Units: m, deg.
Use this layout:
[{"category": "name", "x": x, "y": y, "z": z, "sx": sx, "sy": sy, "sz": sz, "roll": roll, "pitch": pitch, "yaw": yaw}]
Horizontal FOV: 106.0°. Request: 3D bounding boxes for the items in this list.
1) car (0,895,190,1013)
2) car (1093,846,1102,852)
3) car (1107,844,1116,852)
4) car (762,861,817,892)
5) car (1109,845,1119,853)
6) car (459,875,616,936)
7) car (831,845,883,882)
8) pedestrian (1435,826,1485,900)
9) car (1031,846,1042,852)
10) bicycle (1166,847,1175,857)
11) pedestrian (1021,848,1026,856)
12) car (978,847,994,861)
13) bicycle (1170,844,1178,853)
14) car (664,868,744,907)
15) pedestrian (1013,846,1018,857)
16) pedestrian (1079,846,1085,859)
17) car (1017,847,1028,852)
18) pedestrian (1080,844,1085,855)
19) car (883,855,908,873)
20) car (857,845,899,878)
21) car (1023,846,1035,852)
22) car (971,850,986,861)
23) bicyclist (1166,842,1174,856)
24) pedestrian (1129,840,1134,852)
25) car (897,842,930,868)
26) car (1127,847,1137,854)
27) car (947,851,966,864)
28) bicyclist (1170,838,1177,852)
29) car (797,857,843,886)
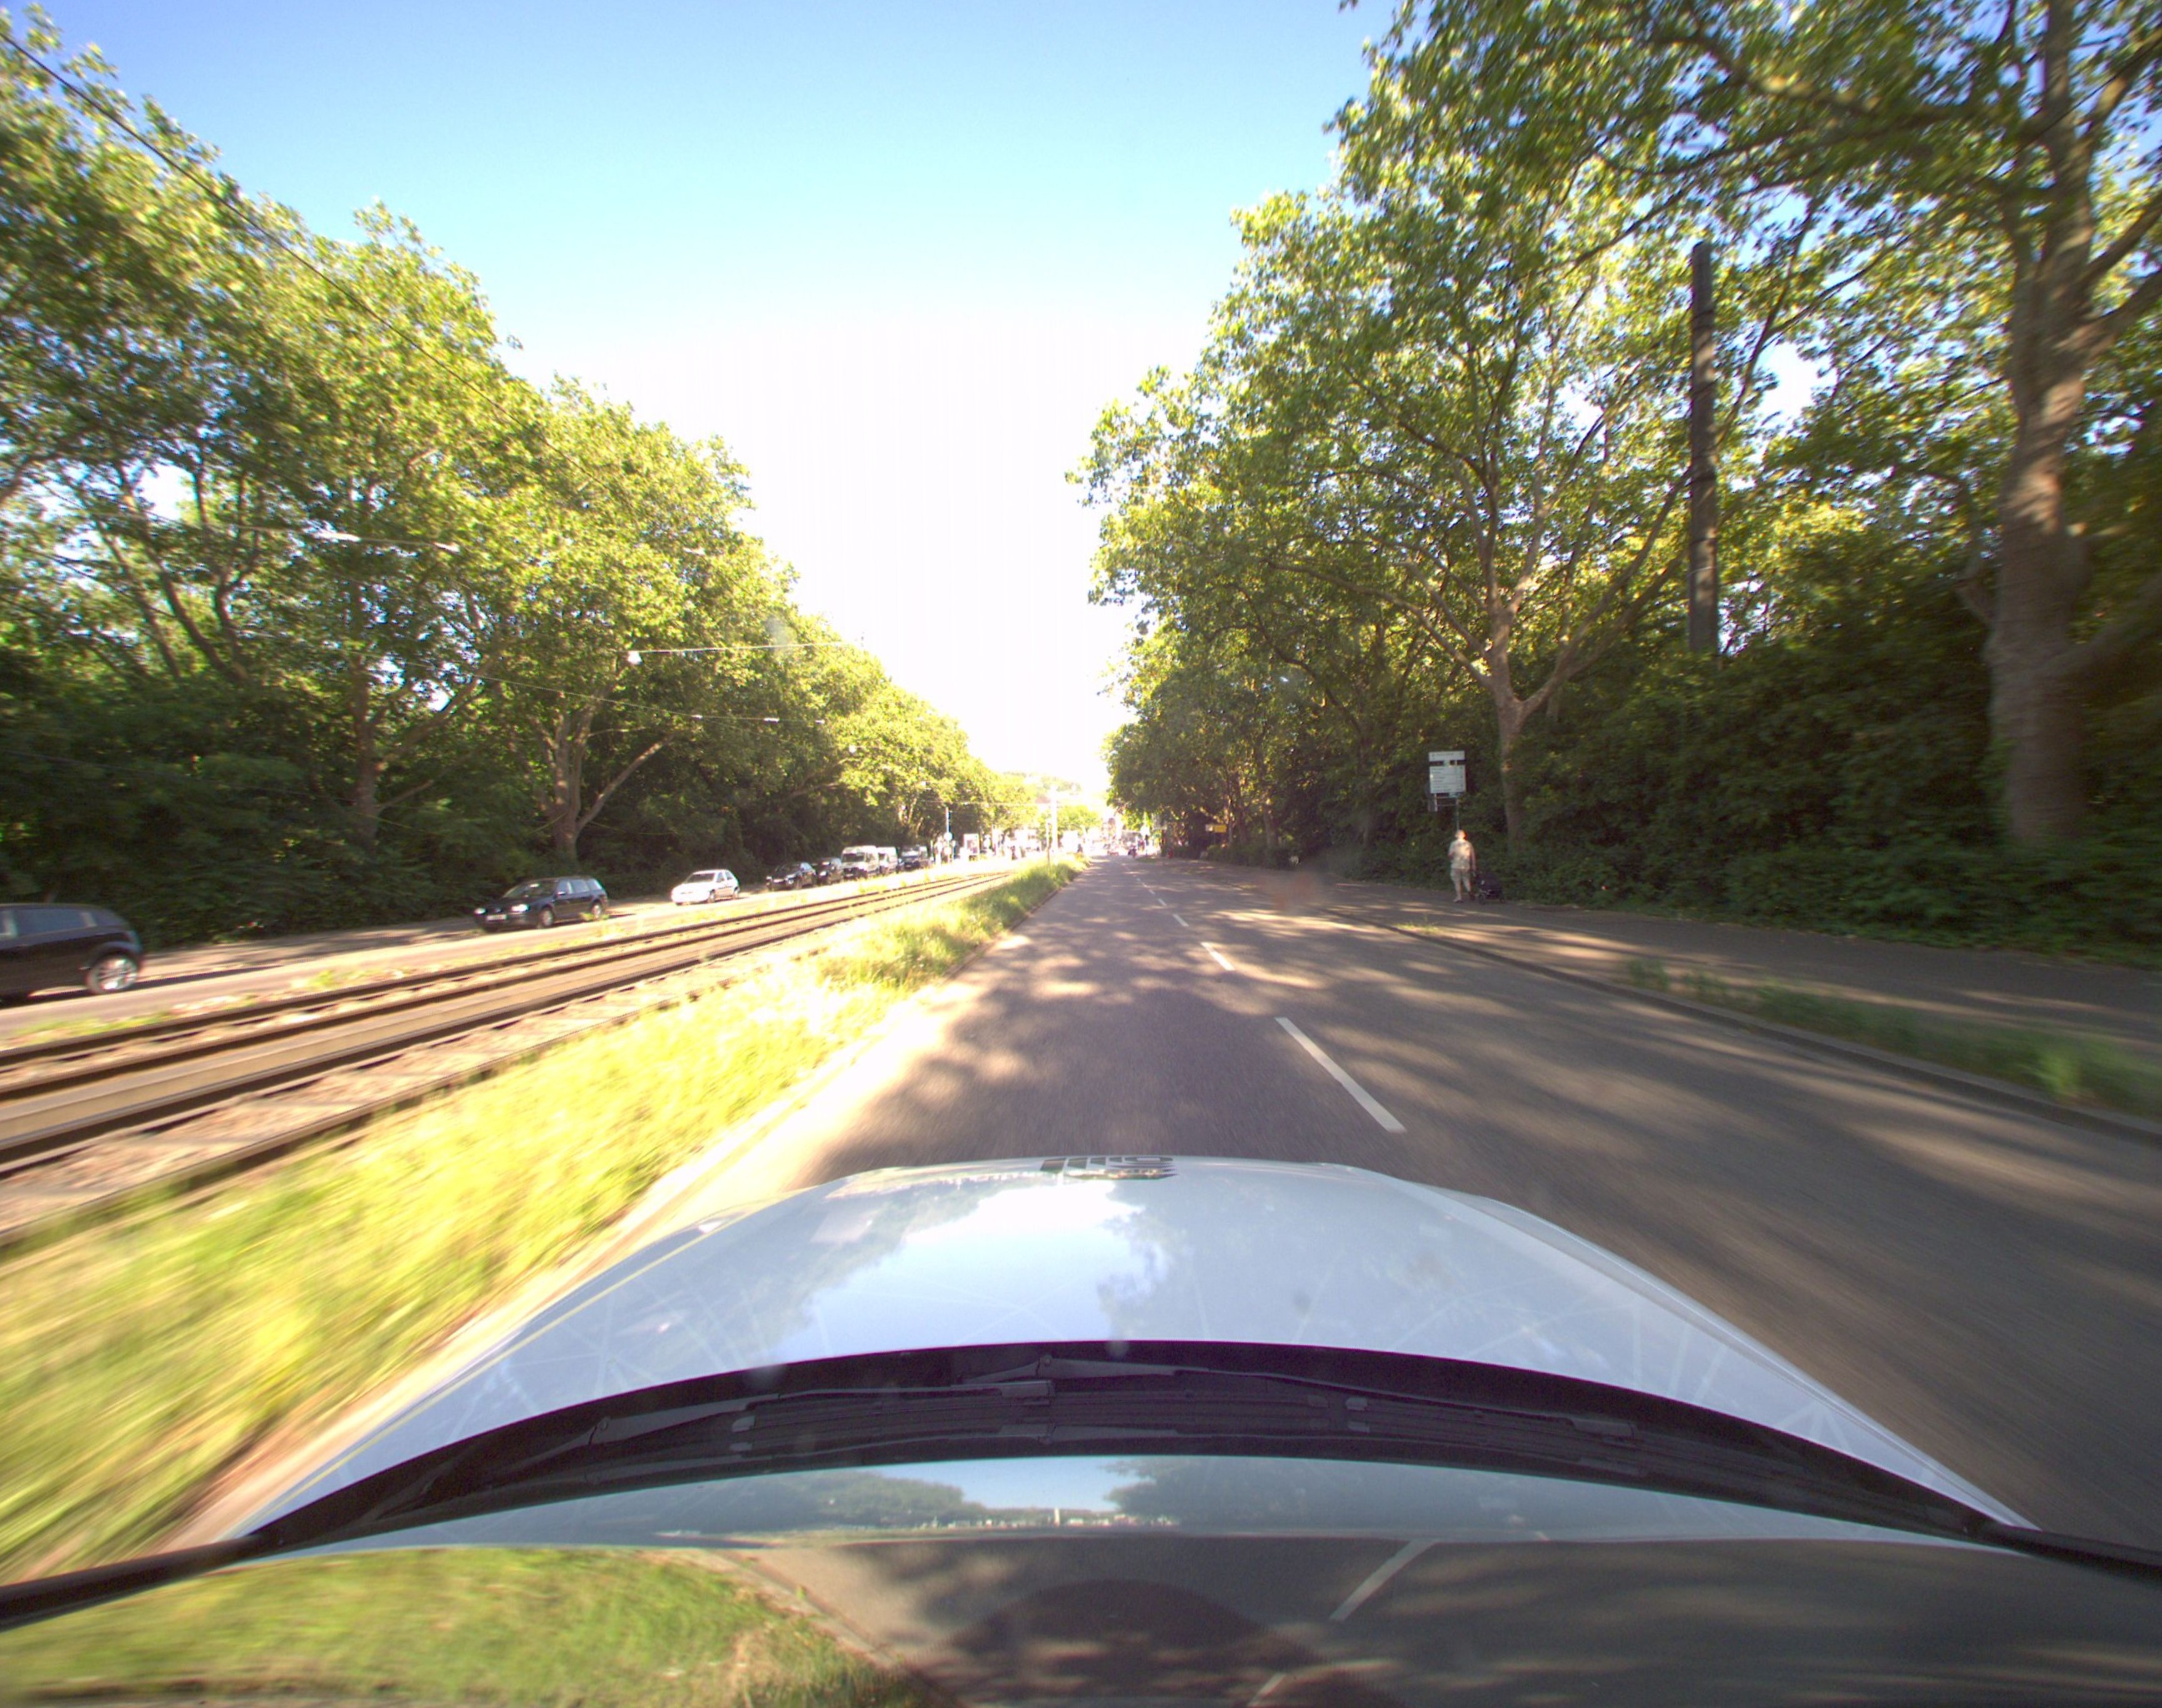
[{"category": "car", "x": -15.750, "y": 1.487, "z": 11.332, "sx": 1.822, "sy": 1.505, "sz": 4.392, "roll": -4, "pitch": 0, "yaw": -1}, {"category": "car", "x": 3.599, "y": -1.108, "z": 179.923, "sx": 1.802, "sy": 1.452, "sz": 3.999, "roll": -1, "pitch": 1, "yaw": 0}, {"category": "car", "x": 6.669, "y": -1.249, "z": 178.155, "sx": 1.794, "sy": 1.638, "sz": 4.044, "roll": -1, "pitch": 1, "yaw": 0}, {"category": "car", "x": -16.726, "y": 1.252, "z": 46.865, "sx": 1.734, "sy": 1.555, "sz": 3.880, "roll": -4, "pitch": 0, "yaw": -1}, {"category": "car", "x": 6.886, "y": -1.084, "z": 170.852, "sx": 1.923, "sy": 1.472, "sz": 4.855, "roll": -1, "pitch": 1, "yaw": 0}, {"category": "car", "x": -16.126, "y": 1.477, "z": 24.491, "sx": 1.822, "sy": 1.436, "sz": 4.321, "roll": -4, "pitch": 0, "yaw": -1}, {"category": "car", "x": -16.827, "y": 0.672, "z": 61.516, "sx": 2.177, "sy": 2.520, "sz": 6.047, "roll": -4, "pitch": 0, "yaw": -1}, {"category": "pedestrian", "x": 8.699, "y": 0.199, "z": 18.724, "sx": 0.645, "sy": 1.635, "sz": 0.928, "roll": -4, "pitch": 0, "yaw": 2}, {"category": "car", "x": -13.972, "y": -1.680, "z": 257.846, "sx": 1.904, "sy": 1.649, "sz": 4.202, "roll": -2, "pitch": 1, "yaw": 21}, {"category": "bicycle", "x": 9.886, "y": -0.244, "z": 90.089, "sx": 0.763, "sy": 1.107, "sz": 1.800, "roll": -2, "pitch": 1, "yaw": 0}, {"category": "pedestrian", "x": -10.065, "y": -0.371, "z": 143.081, "sx": 0.668, "sy": 1.324, "sz": 0.756, "roll": -4, "pitch": 0, "yaw": -2}, {"category": "car", "x": -15.953, "y": -0.039, "z": 137.058, "sx": 2.061, "sy": 2.124, "sz": 5.087, "roll": -4, "pitch": 0, "yaw": -1}, {"category": "bicycle", "x": 11.656, "y": -0.749, "z": 102.427, "sx": 0.697, "sy": 1.107, "sz": 1.929, "roll": -2, "pitch": 0, "yaw": -1}, {"category": "car", "x": -16.456, "y": 1.432, "z": 35.766, "sx": 1.734, "sy": 1.436, "sz": 3.850, "roll": -4, "pitch": 0, "yaw": -1}, {"category": "pedestrian", "x": -10.292, "y": -0.426, "z": 127.328, "sx": 0.645, "sy": 1.772, "sz": 0.650, "roll": -1, "pitch": 0, "yaw": 3}, {"category": "pedestrian", "x": 0.134, "y": -0.173, "z": 97.299, "sx": 0.587, "sy": 1.519, "sz": 0.514, "roll": -4, "pitch": 0, "yaw": 1}, {"category": "car", "x": -18.750, "y": -1.510, "z": 260.566, "sx": 1.779, "sy": 1.510, "sz": 4.030, "roll": -2, "pitch": 1, "yaw": 19}, {"category": "pedestrian", "x": 0.221, "y": -0.643, "z": 120.222, "sx": 0.740, "sy": 1.694, "sz": 0.791, "roll": 0, "pitch": 0, "yaw": 1}, {"category": "car", "x": -17.369, "y": 0.938, "z": 76.252, "sx": 1.648, "sy": 1.512, "sz": 3.263, "roll": -4, "pitch": 0, "yaw": -3}, {"category": "car", "x": -17.215, "y": 0.622, "z": 69.376, "sx": 2.178, "sy": 2.520, "sz": 6.265, "roll": -4, "pitch": 0, "yaw": -3}, {"category": "car", "x": -16.412, "y": -1.604, "z": 258.551, "sx": 1.777, "sy": 1.649, "sz": 4.035, "roll": -1, "pitch": 1, "yaw": 29}, {"category": "car", "x": -16.097, "y": 0.260, "z": 128.247, "sx": 1.789, "sy": 1.510, "sz": 4.339, "roll": -4, "pitch": 0, "yaw": -1}, {"category": "bicyclist", "x": 9.883, "y": -0.523, "z": 90.092, "sx": 0.764, "sy": 1.513, "sz": 0.650, "roll": -2, "pitch": 0, "yaw": 0}, {"category": "pedestrian", "x": 7.788, "y": -1.223, "z": 124.769, "sx": 0.655, "sy": 1.871, "sz": 0.677, "roll": -2, "pitch": 0, "yaw": 0}, {"category": "car", "x": -17.323, "y": 0.116, "z": 84.466, "sx": 2.177, "sy": 2.520, "sz": 6.029, "roll": -4, "pitch": 0, "yaw": -1}, {"category": "car", "x": 10.343, "y": -0.726, "z": 165.821, "sx": 1.794, "sy": 1.438, "sz": 4.045, "roll": 0, "pitch": 1, "yaw": 0}, {"category": "car", "x": -16.395, "y": 0.434, "z": 107.588, "sx": 1.898, "sy": 1.651, "sz": 3.969, "roll": -4, "pitch": 0, "yaw": -3}, {"category": "bicyclist", "x": 11.646, "y": -1.149, "z": 102.427, "sx": 0.697, "sy": 1.728, "sz": 1.079, "roll": -2, "pitch": 0, "yaw": -1}, {"category": "car", "x": -16.973, "y": 1.104, "z": 53.161, "sx": 1.734, "sy": 1.728, "sz": 3.880, "roll": -4, "pitch": 0, "yaw": -1}]
